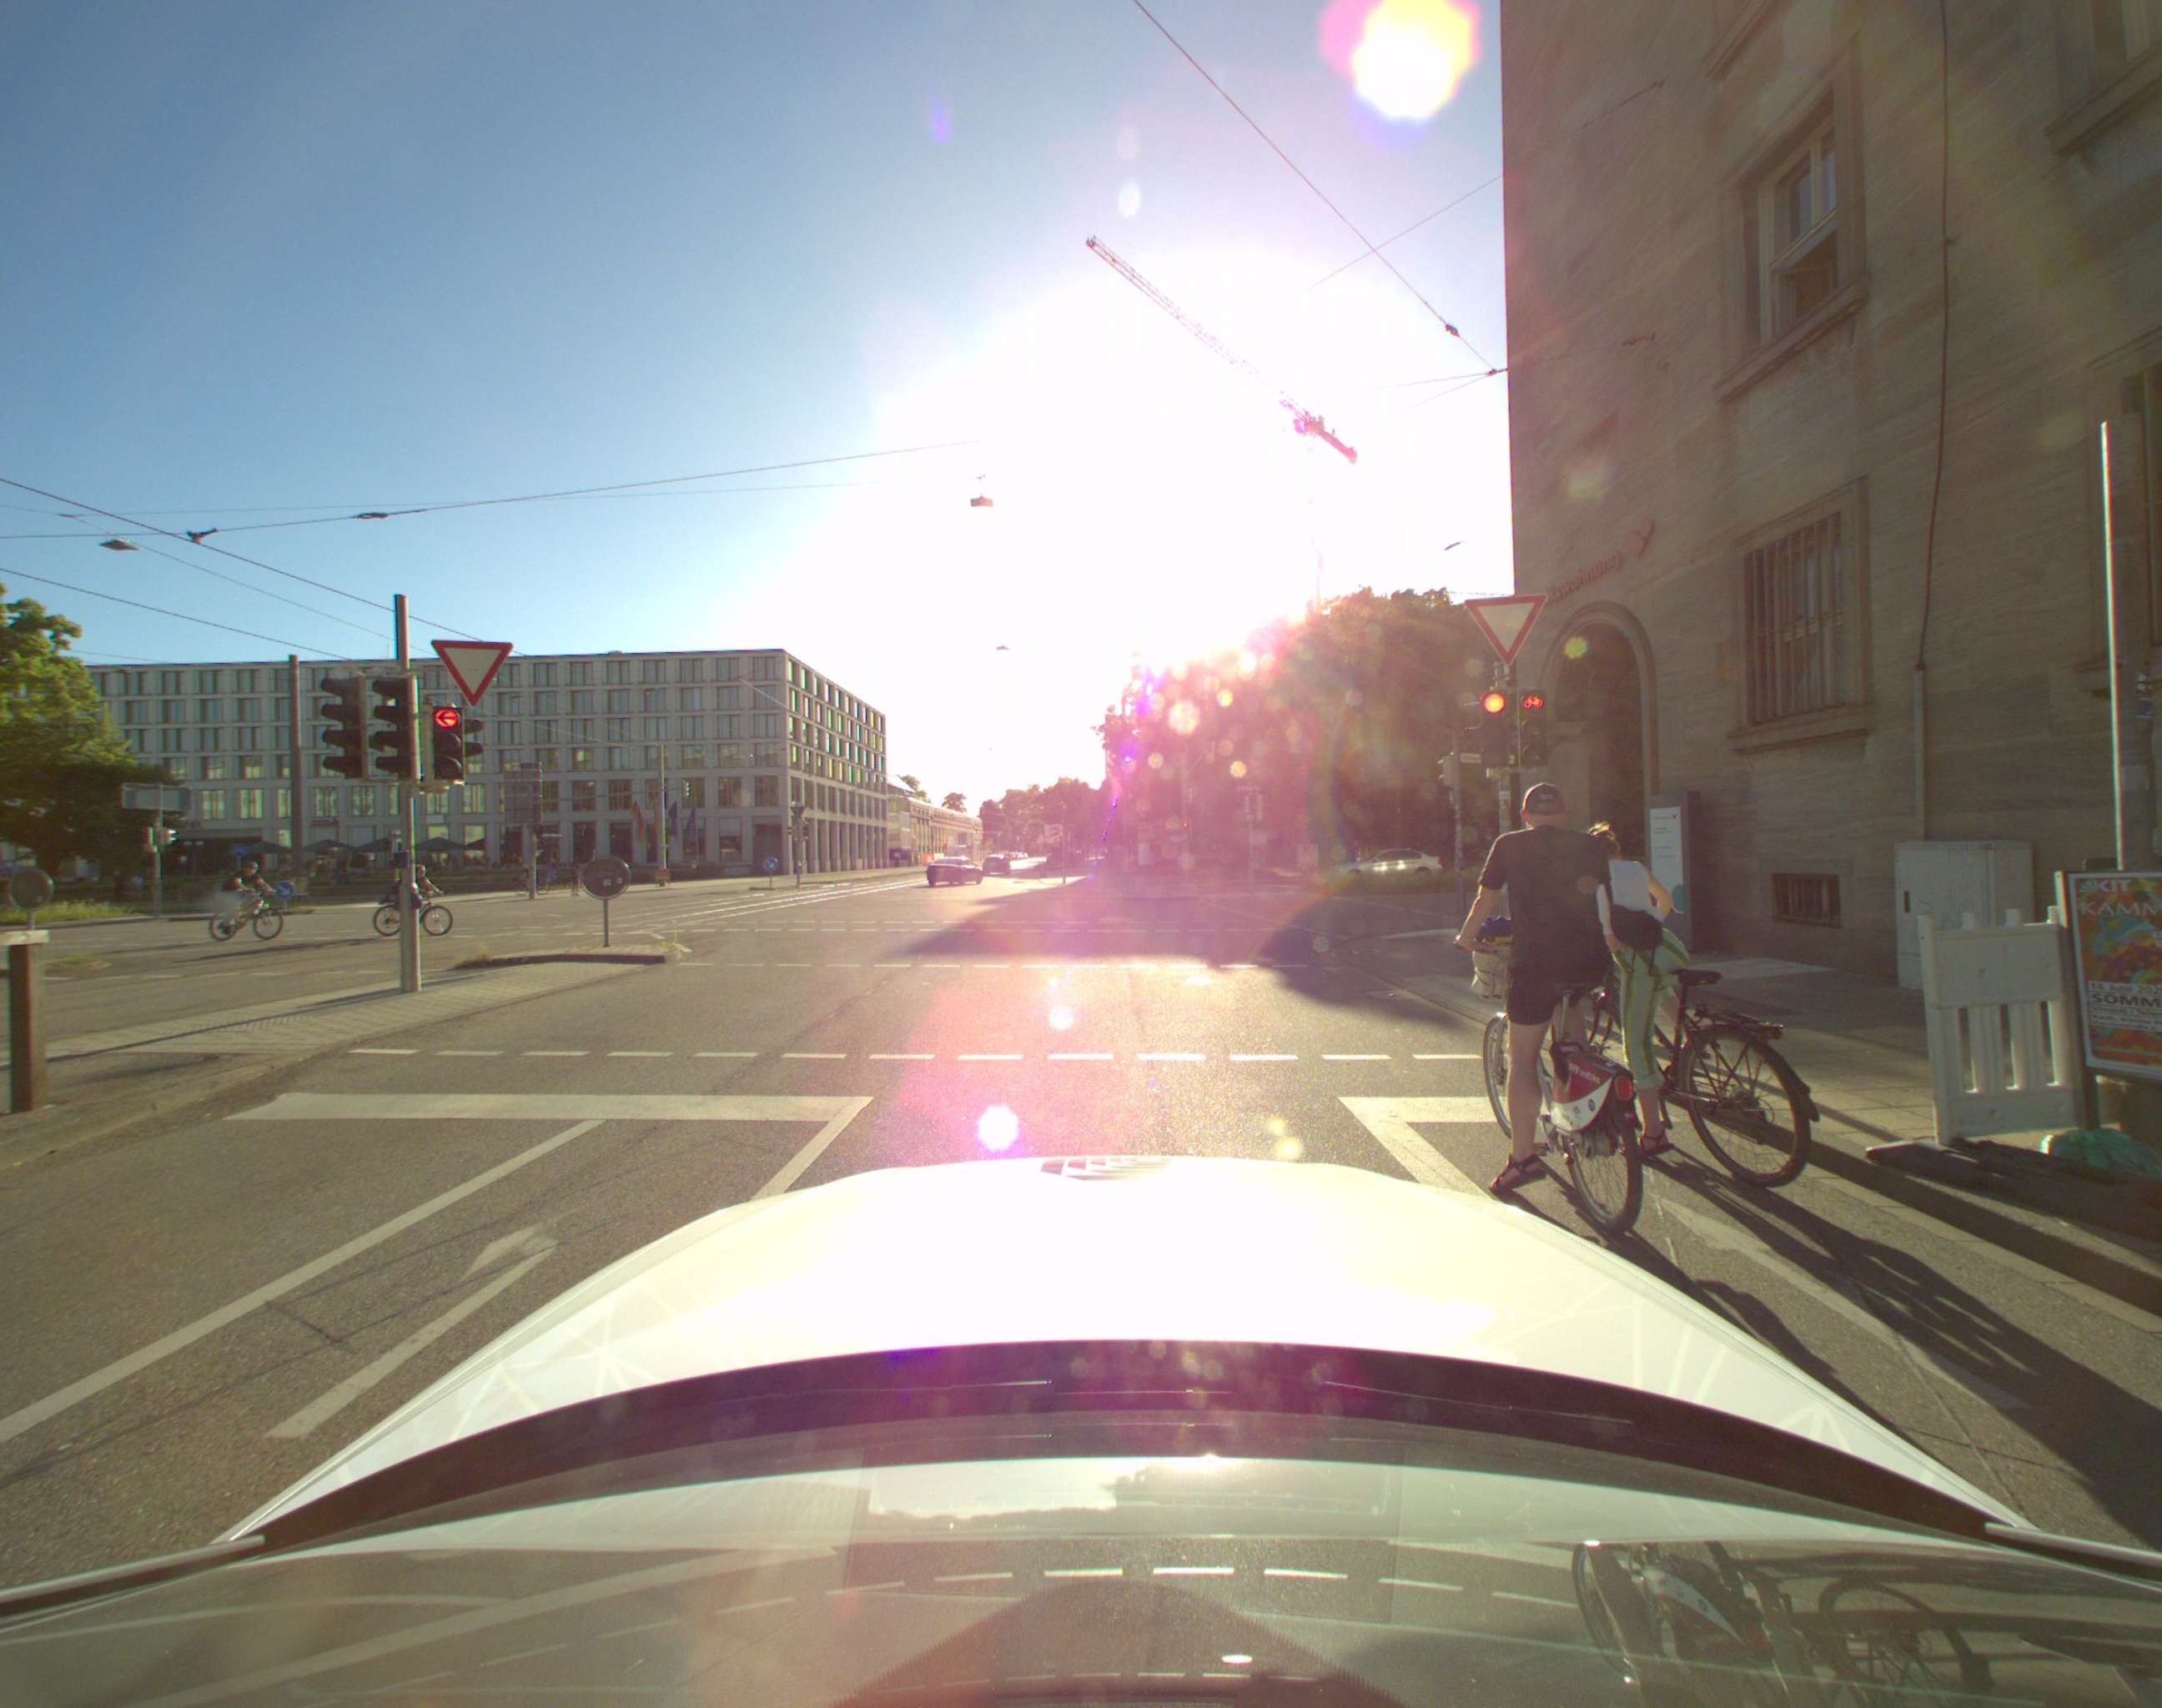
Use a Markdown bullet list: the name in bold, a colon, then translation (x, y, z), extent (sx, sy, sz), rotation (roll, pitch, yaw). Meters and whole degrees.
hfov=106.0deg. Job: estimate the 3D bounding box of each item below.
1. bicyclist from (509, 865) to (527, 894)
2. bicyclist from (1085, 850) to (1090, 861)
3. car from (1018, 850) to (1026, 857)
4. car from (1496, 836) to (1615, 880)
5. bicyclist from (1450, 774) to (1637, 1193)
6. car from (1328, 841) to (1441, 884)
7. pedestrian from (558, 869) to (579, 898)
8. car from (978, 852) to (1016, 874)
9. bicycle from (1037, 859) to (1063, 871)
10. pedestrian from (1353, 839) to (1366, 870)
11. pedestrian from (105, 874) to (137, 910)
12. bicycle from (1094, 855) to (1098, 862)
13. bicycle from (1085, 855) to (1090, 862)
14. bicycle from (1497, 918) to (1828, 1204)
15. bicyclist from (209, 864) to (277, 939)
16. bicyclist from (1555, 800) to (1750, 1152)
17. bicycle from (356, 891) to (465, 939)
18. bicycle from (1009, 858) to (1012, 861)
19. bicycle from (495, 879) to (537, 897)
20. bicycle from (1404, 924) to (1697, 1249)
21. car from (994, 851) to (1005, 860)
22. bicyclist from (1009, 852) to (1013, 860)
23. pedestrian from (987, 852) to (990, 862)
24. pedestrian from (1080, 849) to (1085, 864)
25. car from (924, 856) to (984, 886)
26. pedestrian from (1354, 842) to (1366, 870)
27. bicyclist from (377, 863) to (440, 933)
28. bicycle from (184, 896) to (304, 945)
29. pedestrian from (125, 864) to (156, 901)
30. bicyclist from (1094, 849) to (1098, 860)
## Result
- **bicyclist**: translation (-31.554, 1.408, 45.675), extent (0.781, 1.589, 0.753), rotation (-1, 0, -37)
- **bicyclist**: translation (0.950, 0.239, 120.900), extent (0.567, 1.691, 0.700), rotation (-2, 0, 1)
- **car**: translation (-14.241, -0.118, 195.335), extent (1.688, 1.718, 4.245), rotation (0, -1, -1)
- **car**: translation (19.168, 0.149, 32.992), extent (3.835, 1.611, 1.650), rotation (-2, 0, 1)
- **bicyclist**: translation (2.122, 0.559, 3.793), extent (0.556, 1.799, 0.551), rotation (-1, 0, 3)
- **car**: translation (12.345, 0.349, 33.269), extent (3.979, 1.611, 1.650), rotation (-2, 0, 1)
- **pedestrian**: translation (-28.650, 1.621, 45.515), extent (0.774, 1.589, 0.589), rotation (-2, 0, -7)
- **car**: translation (-6.290, 0.645, 61.308), extent (1.882, 1.565, 4.815), rotation (1, 0, 6)
- **bicycle**: translation (-2.573, 0.904, 67.717), extent (1.996, 0.891, 0.655), rotation (-4, -1, 29)
- **pedestrian**: translation (15.029, 0.006, 43.958), extent (0.580, 1.663, 0.515), rotation (-1, 1, 4)
- **pedestrian**: translation (-52.836, 2.077, 44.832), extent (0.711, 1.900, 0.877), rotation (-1, -1, 12)
- **bicycle**: translation (2.283, 0.660, 120.981), extent (0.573, 1.077, 1.831), rotation (-2, 0, 1)
- **bicycle**: translation (0.963, 0.670, 120.897), extent (0.573, 1.077, 1.831), rotation (-2, 0, 1)
- **bicycle**: translation (2.941, 0.956, 4.366), extent (0.532, 1.077, 1.751), rotation (-1, 0, 1)
- **bicyclist**: translation (-17.776, 0.996, 17.282), extent (0.761, 1.524, 0.606), rotation (-2, 0, -3)
- **bicyclist**: translation (2.953, 0.589, 4.260), extent (0.556, 1.691, 0.640), rotation (-1, 0, 0)
- **bicycle**: translation (-14.379, 1.302, 17.489), extent (1.739, 0.935, 0.645), rotation (-2, 0, -3)
- **bicycle**: translation (-11.919, 0.918, 137.588), extent (0.499, 0.515, 1.258), rotation (0, -1, 1)
- **bicycle**: translation (-31.638, 1.907, 45.609), extent (1.872, 0.935, 0.754), rotation (-2, 0, -37)
- **bicycle**: translation (2.120, 0.955, 3.950), extent (0.513, 1.077, 1.729), rotation (-1, 0, 4)
- **car**: translation (-15.670, 0.264, 157.085), extent (1.688, 1.718, 4.245), rotation (0, -1, -1)
- **bicyclist**: translation (-11.902, 0.363, 137.685), extent (0.594, 1.377, 0.637), rotation (0, -1, 0)
- **pedestrian**: translation (-18.411, 0.525, 162.053), extent (0.672, 2.014, 0.751), rotation (0, -1, -1)
- **pedestrian**: translation (0.178, 0.349, 98.462), extent (0.462, 1.813, 0.502), rotation (-2, 0, -3)
- **car**: translation (-6.565, 0.824, 42.512), extent (1.649, 1.455, 4.445), rotation (1, 0, 11)
- **pedestrian**: translation (15.227, 0.120, 44.456), extent (0.437, 1.503, 0.437), rotation (-2, 0, 3)
- **bicyclist**: translation (-14.425, 0.938, 17.481), extent (0.796, 1.450, 0.617), rotation (-1, 0, -3)
- **bicycle**: translation (-17.739, 1.396, 17.279), extent (1.853, 0.935, 0.559), rotation (-2, 0, -4)
- **pedestrian**: translation (-53.073, 1.602, 45.952), extent (0.837, 2.014, 0.827), rotation (-1, -1, 11)
- **bicyclist**: translation (2.284, 0.082, 121.019), extent (0.567, 1.691, 0.700), rotation (-2, 0, 1)
